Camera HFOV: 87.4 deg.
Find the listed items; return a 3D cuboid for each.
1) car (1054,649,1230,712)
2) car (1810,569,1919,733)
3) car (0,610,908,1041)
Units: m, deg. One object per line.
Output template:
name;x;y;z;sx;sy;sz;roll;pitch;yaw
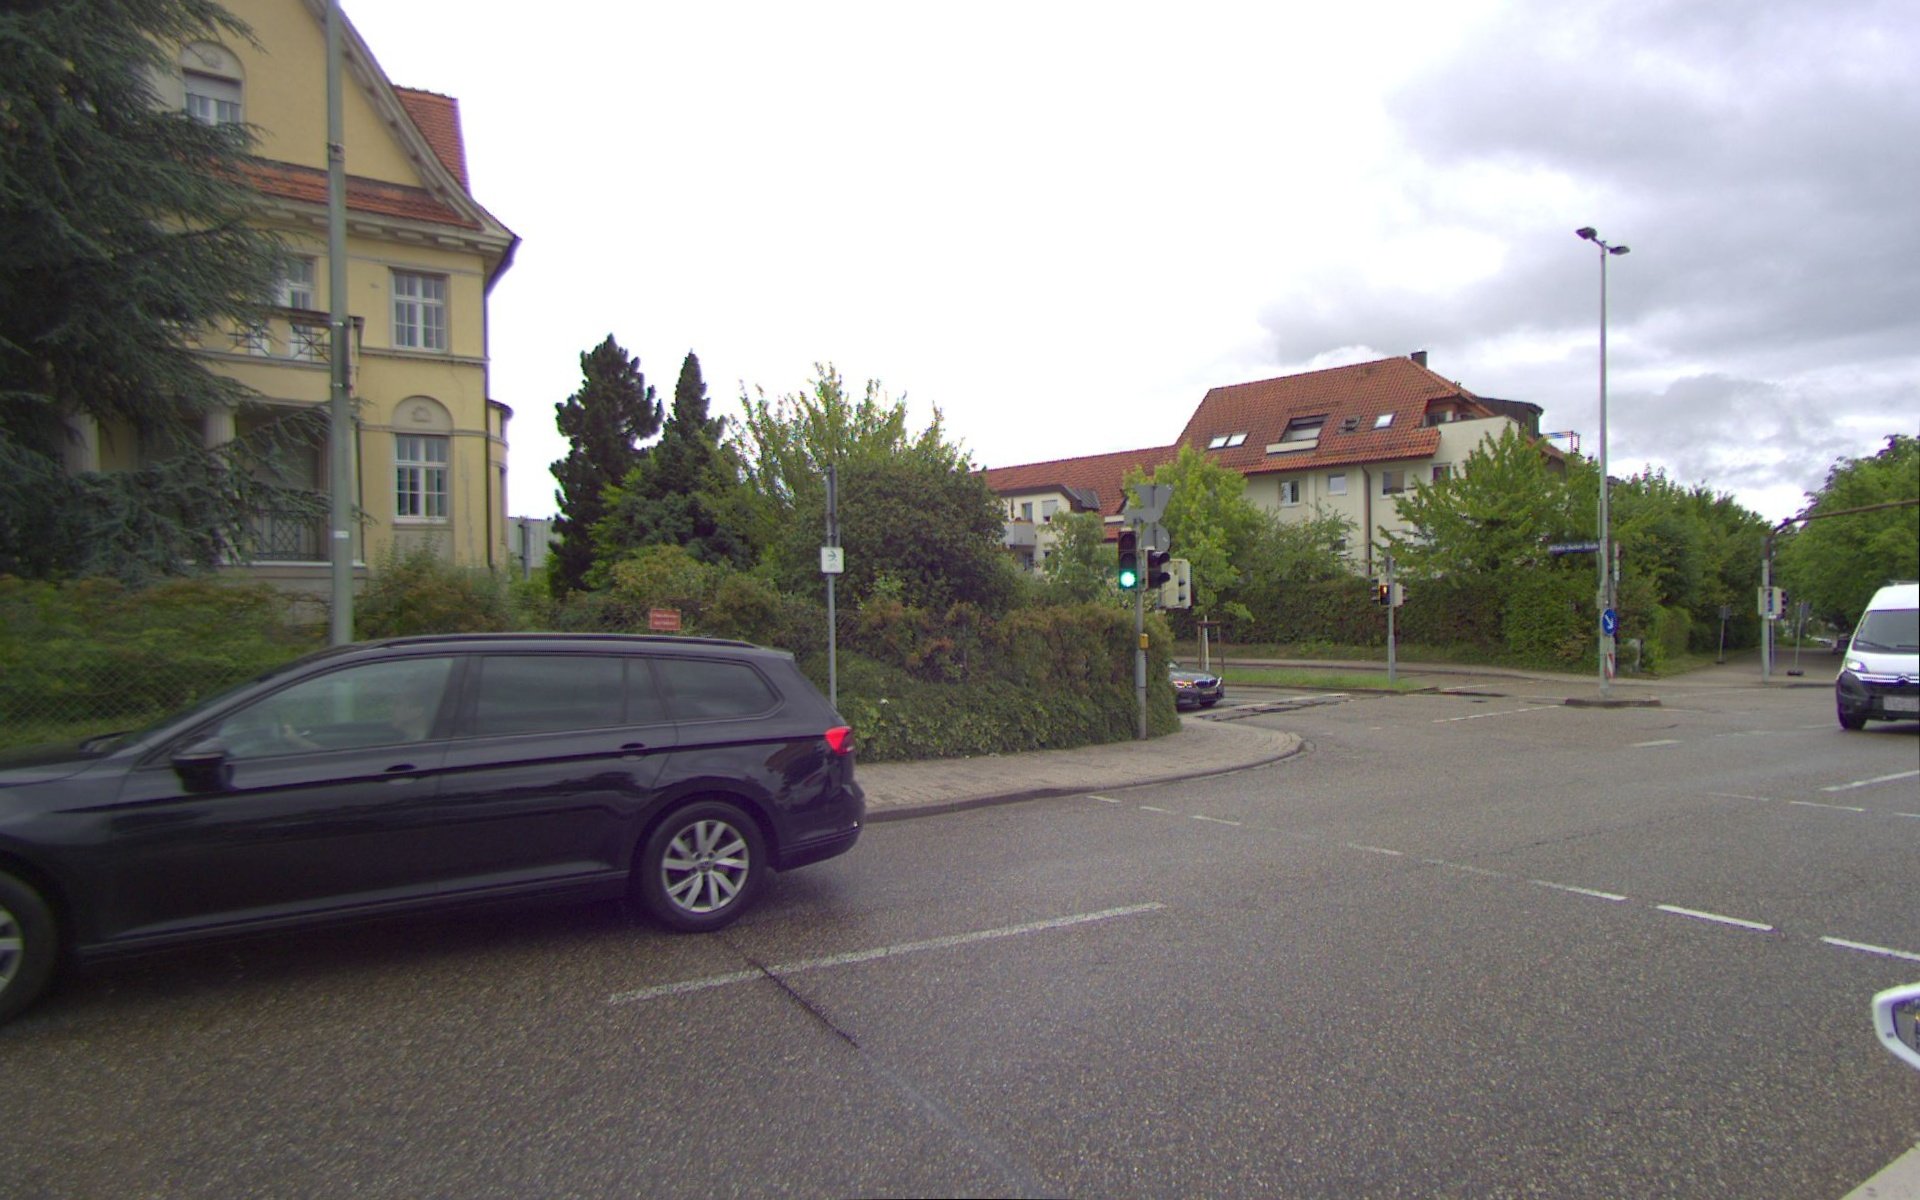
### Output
car;4.529;2.013;25.612;1.759;1.411;4.392;0;-3;-36
car;17.275;0.849;17.384;5.708;2.561;2.285;1;-1;-32
car;-2.614;0.863;5.091;4.421;1.521;1.767;1;-3;-31
